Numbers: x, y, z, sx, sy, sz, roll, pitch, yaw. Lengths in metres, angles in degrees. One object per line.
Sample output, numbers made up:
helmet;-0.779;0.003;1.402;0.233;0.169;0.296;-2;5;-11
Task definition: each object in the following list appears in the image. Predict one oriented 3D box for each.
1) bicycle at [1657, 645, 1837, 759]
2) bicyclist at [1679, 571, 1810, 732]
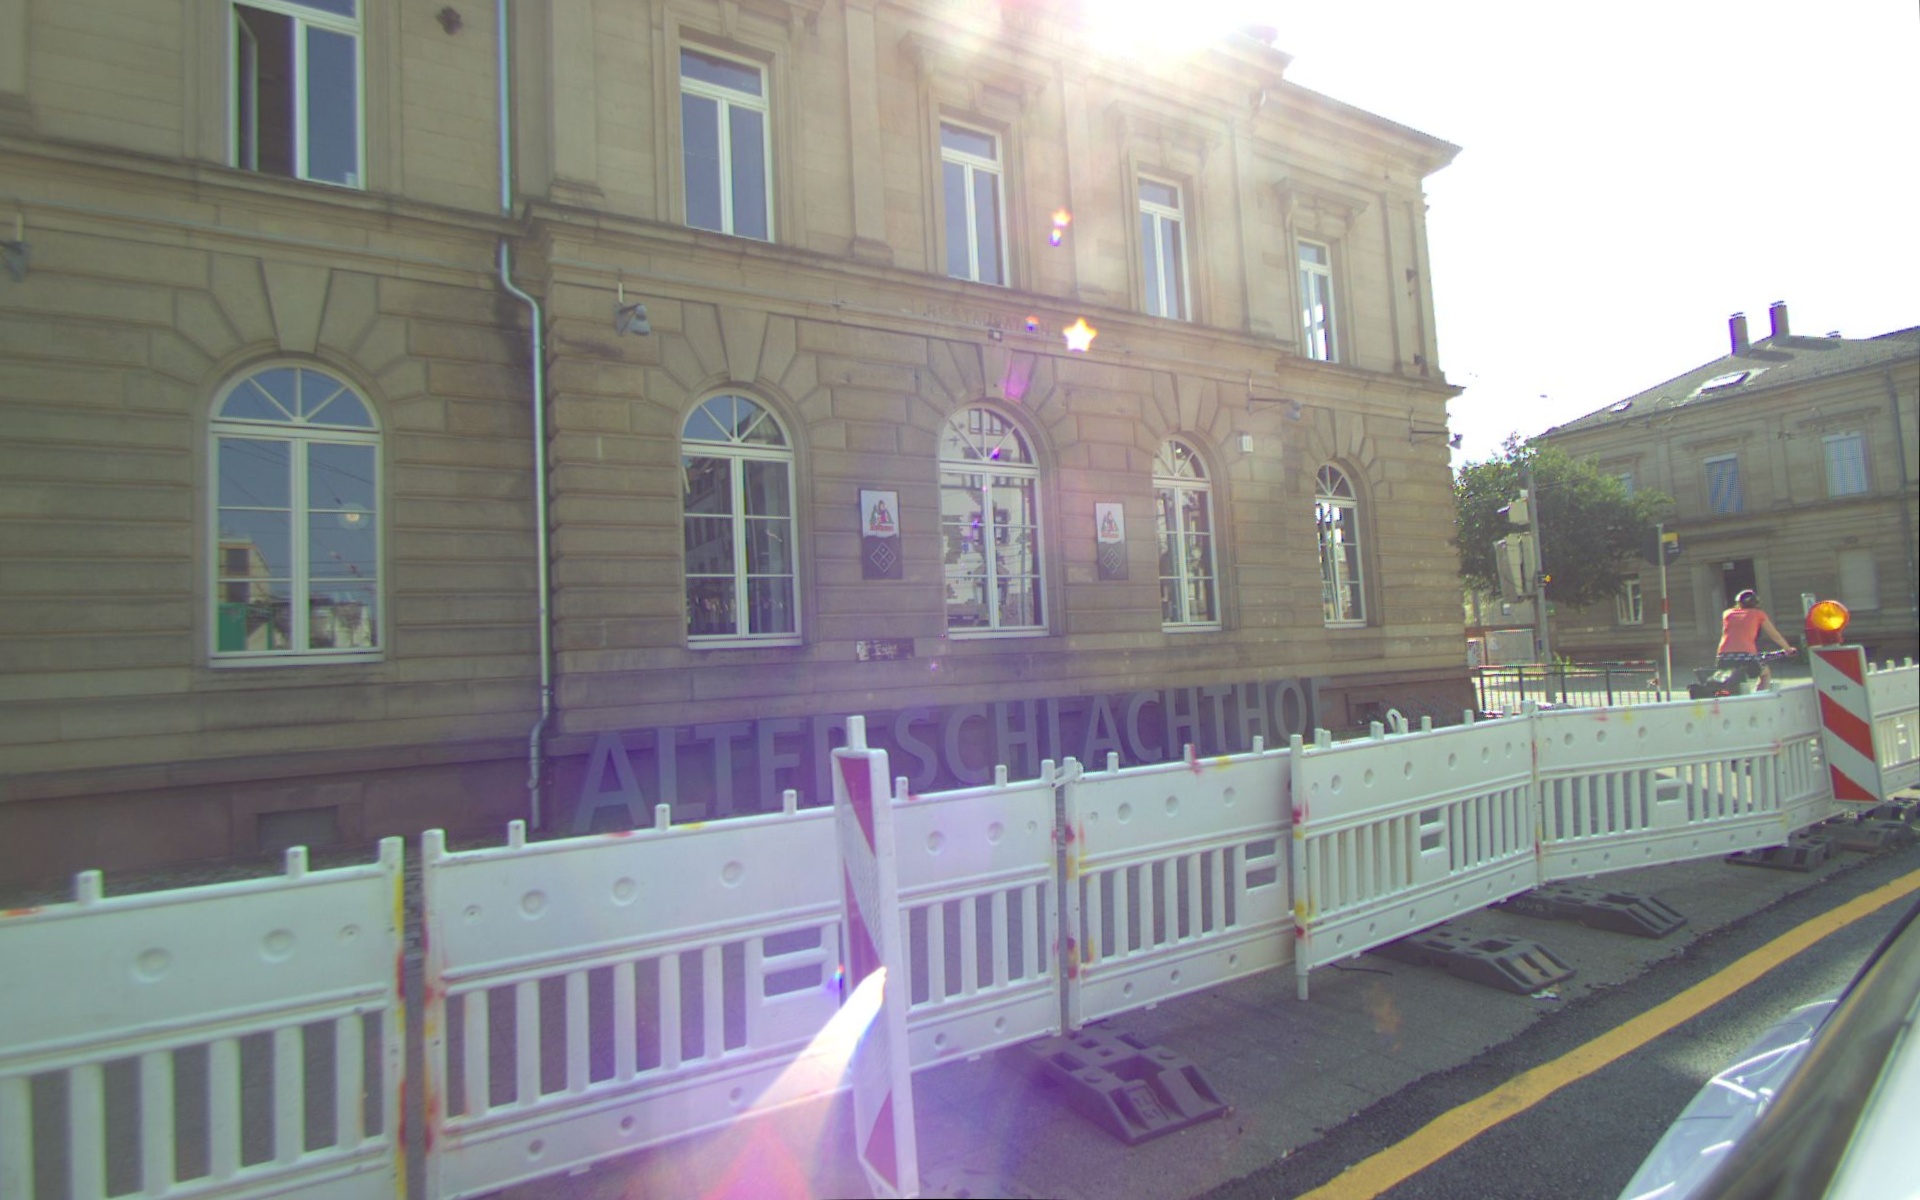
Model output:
bicycle;8.437;1.054;10.826;2.090;1.046;0.744;-1;-4;-31
bicyclist;8.404;0.544;10.855;0.836;1.647;0.737;0;-4;-31
